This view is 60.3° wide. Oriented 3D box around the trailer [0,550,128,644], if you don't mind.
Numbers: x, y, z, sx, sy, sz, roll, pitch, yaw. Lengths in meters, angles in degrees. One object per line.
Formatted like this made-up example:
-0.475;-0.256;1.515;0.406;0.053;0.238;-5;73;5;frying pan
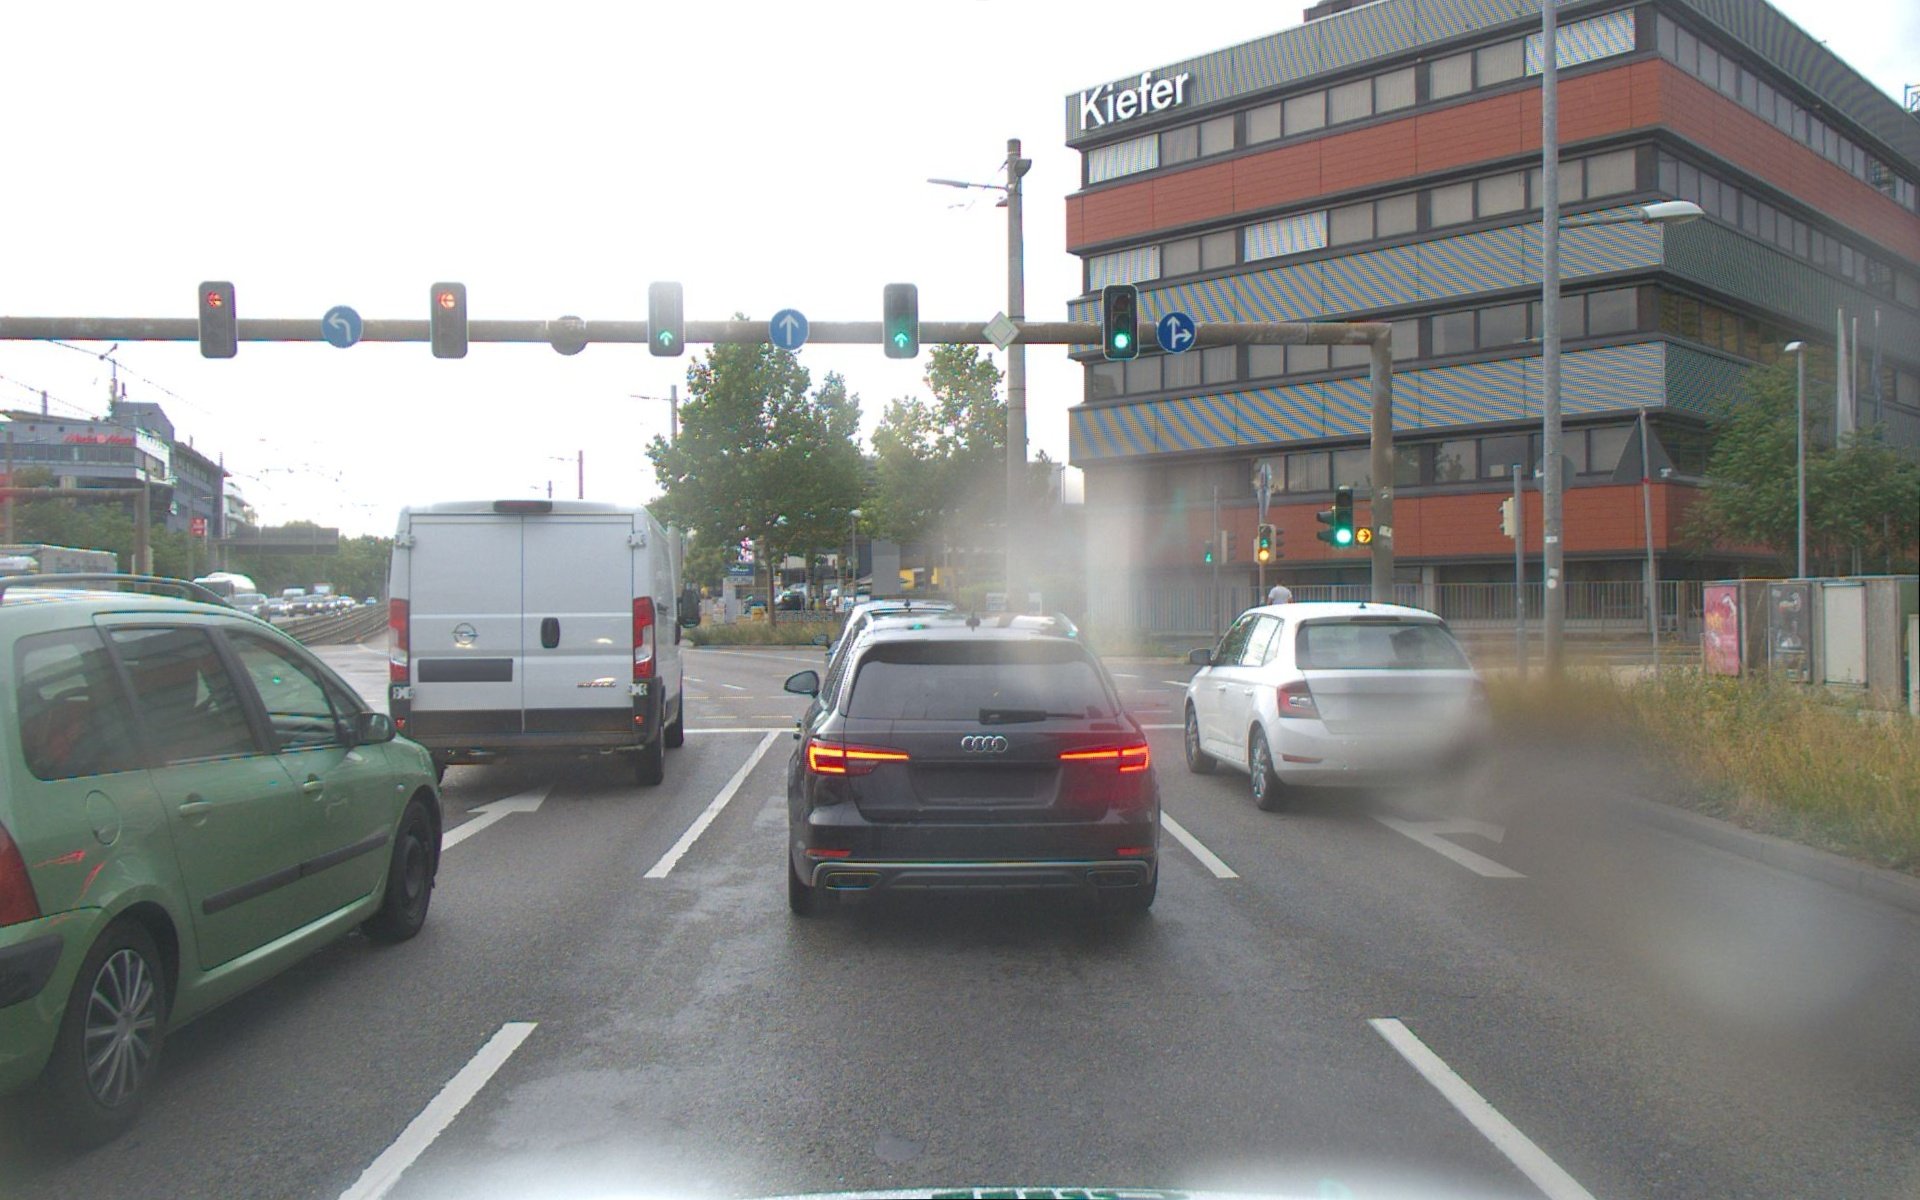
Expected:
-43.316;-0.062;80.115;2.605;4.197;12.698;-1;-1;-14;trailer

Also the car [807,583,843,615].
-8.941;-0.036;109.571;1.652;2.049;3.525;2;-1;-17;car

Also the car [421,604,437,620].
-68.304;1.545;212.880;1.744;2.049;4.328;2;-1;-16;car

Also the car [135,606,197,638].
-41.302;1.136;86.120;1.870;1.582;4.550;2;-1;-13;car

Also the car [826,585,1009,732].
-0.586;0.619;18.829;1.857;1.491;3.905;0;-1;-5;car

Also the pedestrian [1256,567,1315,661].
7.709;0.314;39.231;1.120;2.162;1.222;-1;1;-1;pedestrian

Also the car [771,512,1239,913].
0.163;0.502;8.928;1.953;1.666;3.999;0;-1;-1;car

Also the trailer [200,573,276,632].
-51.789;0.254;118.957;2.677;3.922;11.195;-2;0;-12;trailer

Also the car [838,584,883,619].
-6.091;0.092;100.816;1.961;2.067;3.984;-1;0;-15;car

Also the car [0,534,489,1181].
-3.094;0.606;5.860;1.660;1.494;4.401;2;-1;-2;car

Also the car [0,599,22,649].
-32.995;0.761;55.061;1.854;1.681;4.083;2;-1;-12;car

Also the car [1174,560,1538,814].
2.916;0.618;13.061;1.792;1.685;3.998;0;-1;-2;car

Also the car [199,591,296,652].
-25.150;0.721;58.548;1.738;2.049;4.344;2;0;-4;car

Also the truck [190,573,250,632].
-50.556;0.206;113.075;2.699;3.872;5.392;-2;-1;-14;truck

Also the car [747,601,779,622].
-15.775;0.944;132.164;1.764;1.619;3.978;-1;0;-19;car

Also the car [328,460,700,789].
-3.621;0.227;14.525;2.399;2.334;4.896;2;-1;-7;car

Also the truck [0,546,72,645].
-41.625;-0.135;73.160;2.621;4.202;6.163;-1;-1;-14;truck

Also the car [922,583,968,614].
-1.052;-0.082;113.092;1.844;2.049;3.749;2;-1;-22;car

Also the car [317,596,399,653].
-22.863;0.901;63.006;1.738;2.049;4.344;2;0;-4;car

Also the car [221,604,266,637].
-47.131;1.331;108.903;1.961;1.869;4.889;2;1;-15;car
